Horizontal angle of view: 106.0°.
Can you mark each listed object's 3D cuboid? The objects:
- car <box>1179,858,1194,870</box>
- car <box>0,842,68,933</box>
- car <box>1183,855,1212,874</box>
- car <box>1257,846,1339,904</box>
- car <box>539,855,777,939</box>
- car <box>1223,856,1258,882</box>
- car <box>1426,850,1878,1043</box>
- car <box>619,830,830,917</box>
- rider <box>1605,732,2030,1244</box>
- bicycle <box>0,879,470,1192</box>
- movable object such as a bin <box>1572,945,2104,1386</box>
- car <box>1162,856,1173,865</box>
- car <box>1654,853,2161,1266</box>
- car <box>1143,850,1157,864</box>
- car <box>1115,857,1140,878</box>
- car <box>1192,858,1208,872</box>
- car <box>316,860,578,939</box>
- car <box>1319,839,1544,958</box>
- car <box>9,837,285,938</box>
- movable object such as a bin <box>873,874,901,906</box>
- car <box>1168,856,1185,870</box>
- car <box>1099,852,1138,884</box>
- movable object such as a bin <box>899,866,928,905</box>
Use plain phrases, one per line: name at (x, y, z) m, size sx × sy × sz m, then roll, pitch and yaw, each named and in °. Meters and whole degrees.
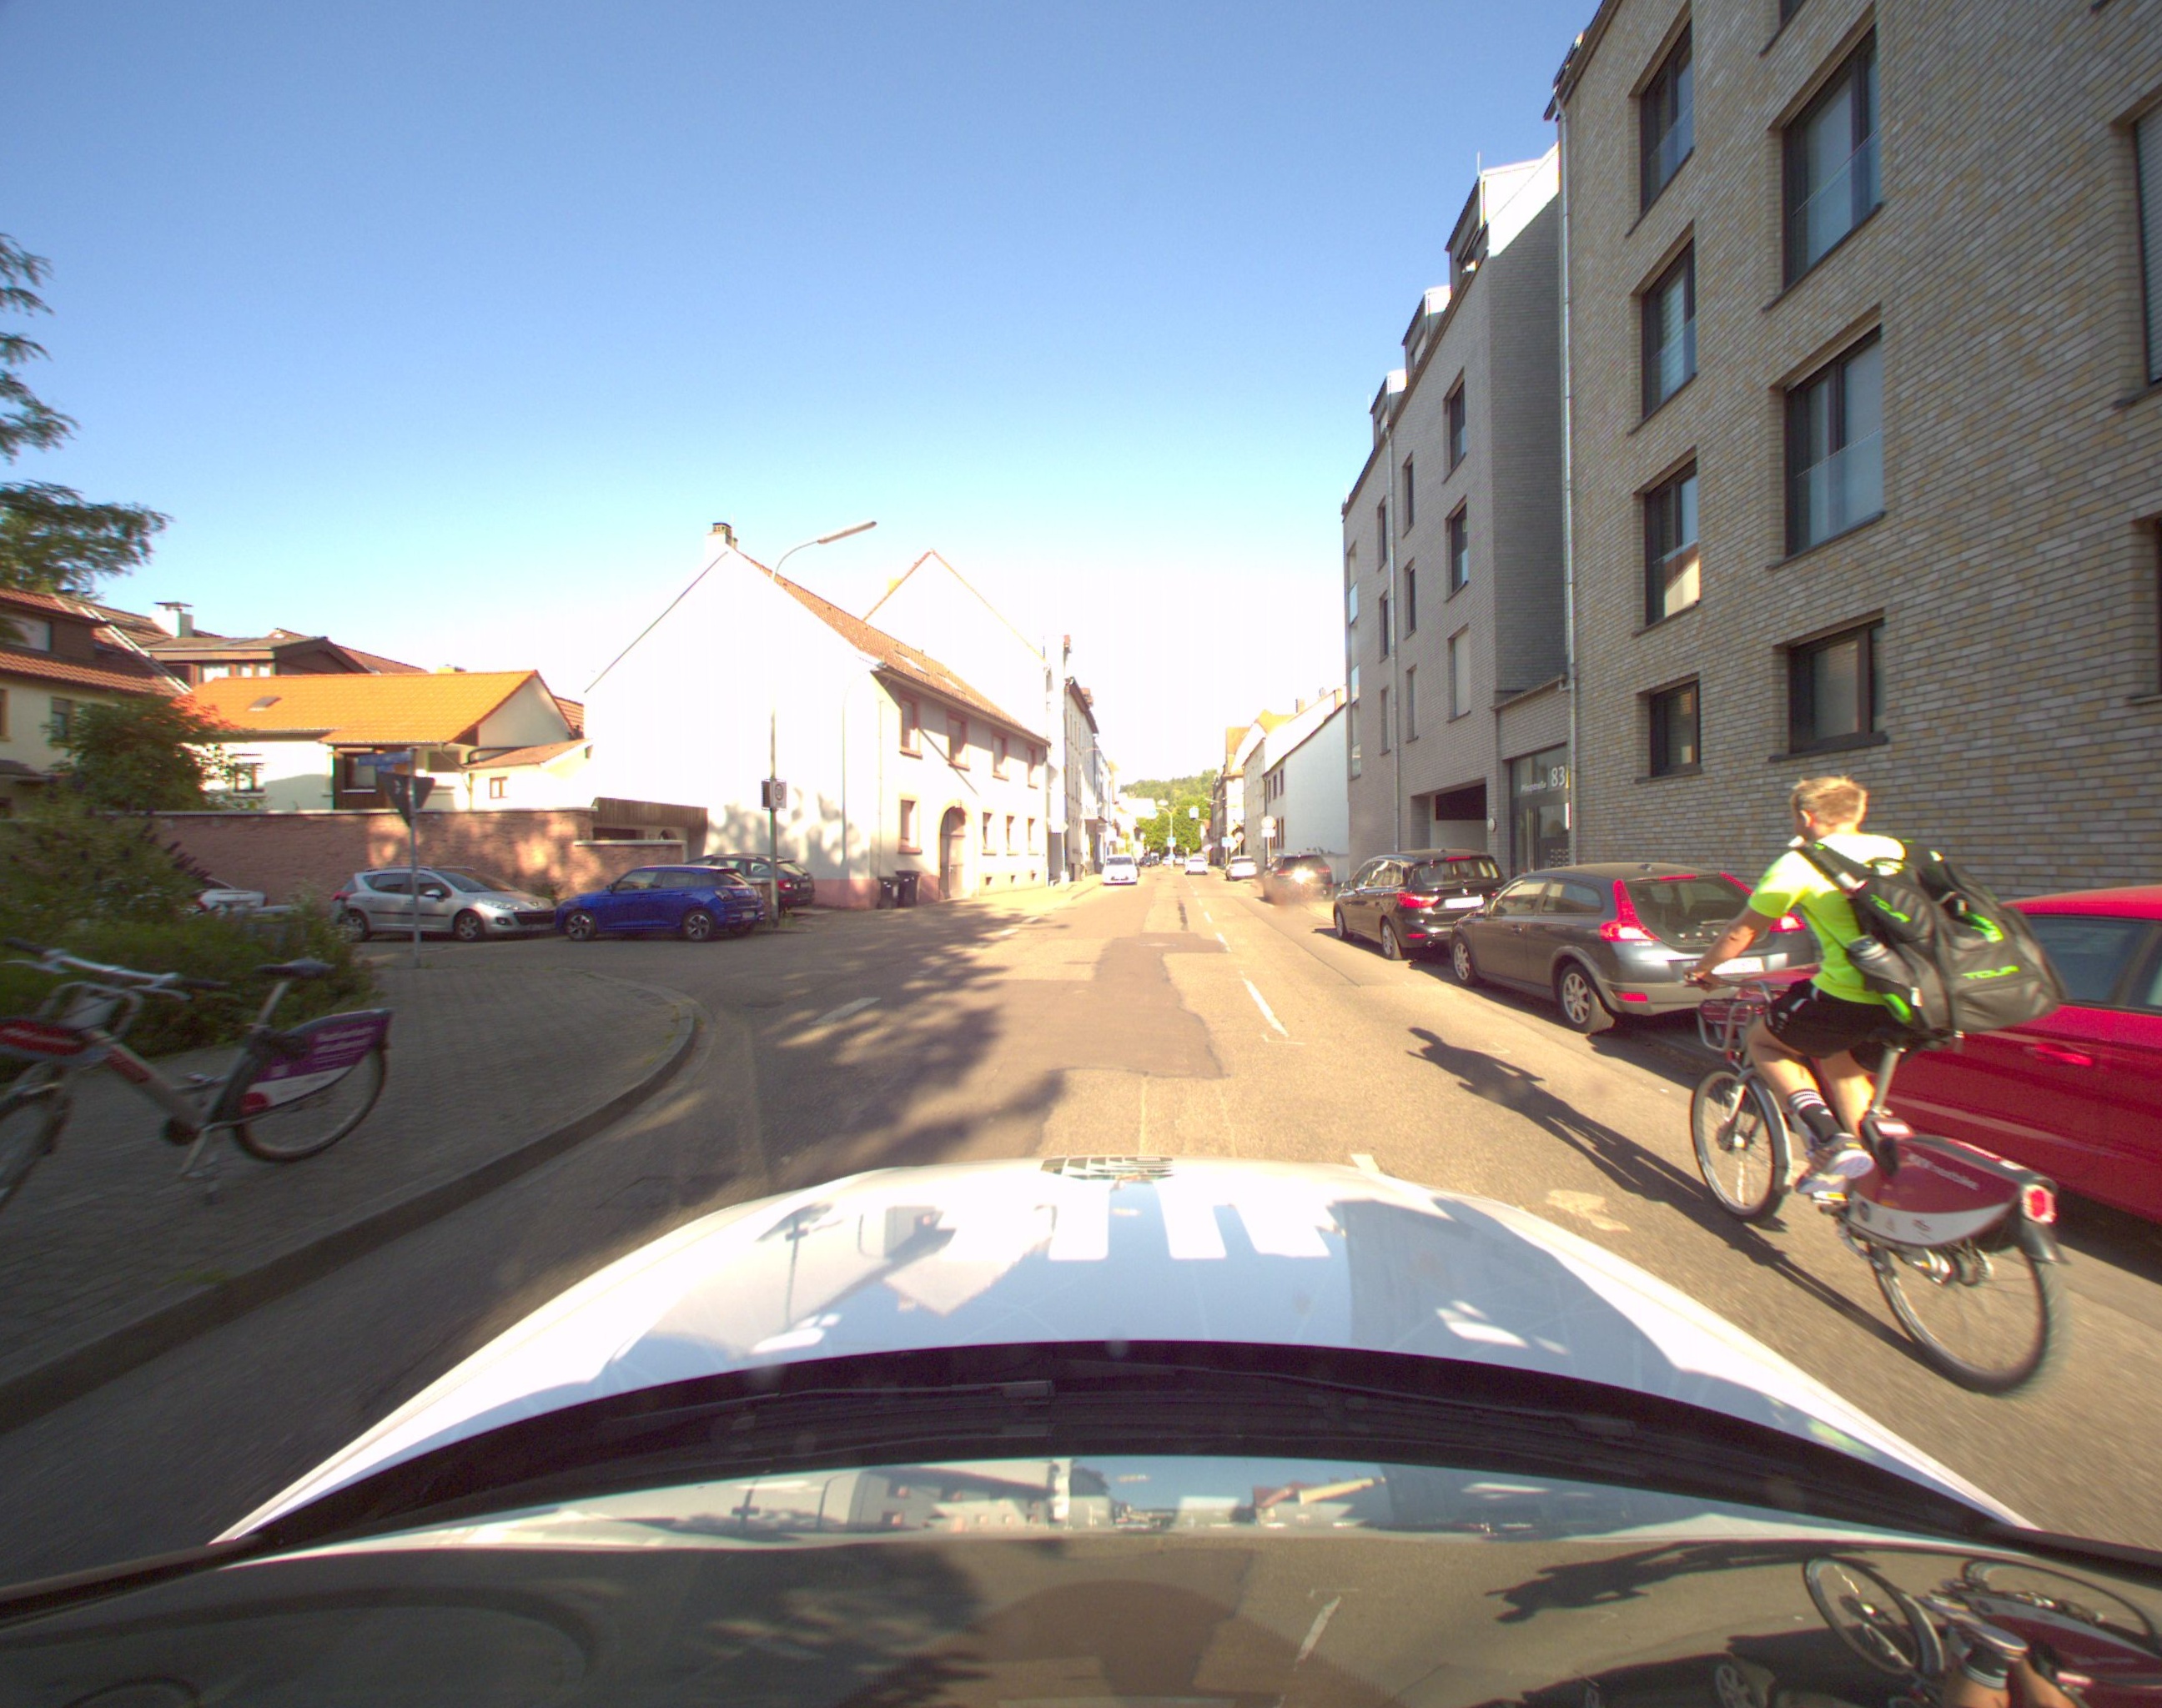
car at (18.134, 1.780, 139.735) m, size 1.988 × 2.014 × 3.997 m, roll 0°, pitch 0°, yaw -2°
car at (-23.826, 0.671, 17.191) m, size 3.081 × 1.886 × 1.387 m, roll 1°, pitch -2°, yaw 2°
car at (9.393, 0.878, 65.945) m, size 1.985 × 1.466 × 4.004 m, roll 0°, pitch -1°, yaw 4°
car at (6.971, 0.631, 26.584) m, size 1.845 × 1.636 × 4.631 m, roll -3°, pitch 0°, yaw 6°
car at (-8.447, 0.827, 16.491) m, size 3.748 × 1.530 × 2.003 m, roll -1°, pitch 0°, yaw 6°
car at (9.734, 0.891, 49.854) m, size 1.732 × 1.492 × 4.447 m, roll -2°, pitch -1°, yaw 7°
car at (5.408, 0.728, 8.604) m, size 1.984 × 1.506 × 4.372 m, roll 0°, pitch 0°, yaw 5°
car at (-8.793, 0.426, 20.299) m, size 4.340 × 1.794 × 1.992 m, roll 3°, pitch 2°, yaw 6°
rider at (2.659, 0.422, 3.094) m, size 0.650 × 1.562 × 1.084 m, roll 3°, pitch -2°, yaw 4°
bicycle at (-3.841, 0.633, 3.529) m, size 0.699 × 1.003 × 1.946 m, roll 1°, pitch -1°, yaw 9°
movable object such as a bin at (2.653, 0.958, 3.174) m, size 0.452 × 1.033 × 1.842 m, roll 3°, pitch -2°, yaw 4°
car at (16.086, 1.233, 151.382) m, size 1.800 × 1.701 × 4.194 m, roll -2°, pitch -1°, yaw 2°
car at (4.799, 0.746, 3.708) m, size 1.704 × 1.404 × 4.079 m, roll -4°, pitch -1°, yaw 5°
car at (10.251, 0.426, 120.945) m, size 1.984 × 2.014 × 4.005 m, roll 0°, pitch 0°, yaw 4°
car at (3.496, 0.998, 61.024) m, size 1.723 × 1.499 × 3.964 m, roll -1°, pitch -1°, yaw 5°
car at (16.573, 1.516, 113.851) m, size 2.001 × 1.853 × 4.005 m, roll 1°, pitch 0°, yaw 5°
car at (-13.007, 0.895, 16.883) m, size 3.967 × 1.500 × 2.003 m, roll 0°, pitch 0°, yaw 6°
car at (5.573, 0.618, 13.726) m, size 1.985 × 1.653 × 4.767 m, roll 0°, pitch 0°, yaw 3°
car at (-19.599, 0.675, 17.222) m, size 3.646 × 2.014 × 1.927 m, roll 0°, pitch 0°, yaw 2°
movable object such as a bin at (-5.421, 1.007, 22.767) m, size 0.596 × 0.872 × 0.607 m, roll 0°, pitch -1°, yaw 3°
car at (14.271, 1.331, 122.095) m, size 1.988 × 2.014 × 3.997 m, roll 0°, pitch -1°, yaw -2°
car at (2.056, 0.728, 44.405) m, size 1.985 × 1.648 × 5.226 m, roll 0°, pitch 0°, yaw 3°
movable object such as a bin at (-4.846, 0.897, 23.563) m, size 0.595 × 1.094 × 0.752 m, roll 1°, pitch -1°, yaw 6°
